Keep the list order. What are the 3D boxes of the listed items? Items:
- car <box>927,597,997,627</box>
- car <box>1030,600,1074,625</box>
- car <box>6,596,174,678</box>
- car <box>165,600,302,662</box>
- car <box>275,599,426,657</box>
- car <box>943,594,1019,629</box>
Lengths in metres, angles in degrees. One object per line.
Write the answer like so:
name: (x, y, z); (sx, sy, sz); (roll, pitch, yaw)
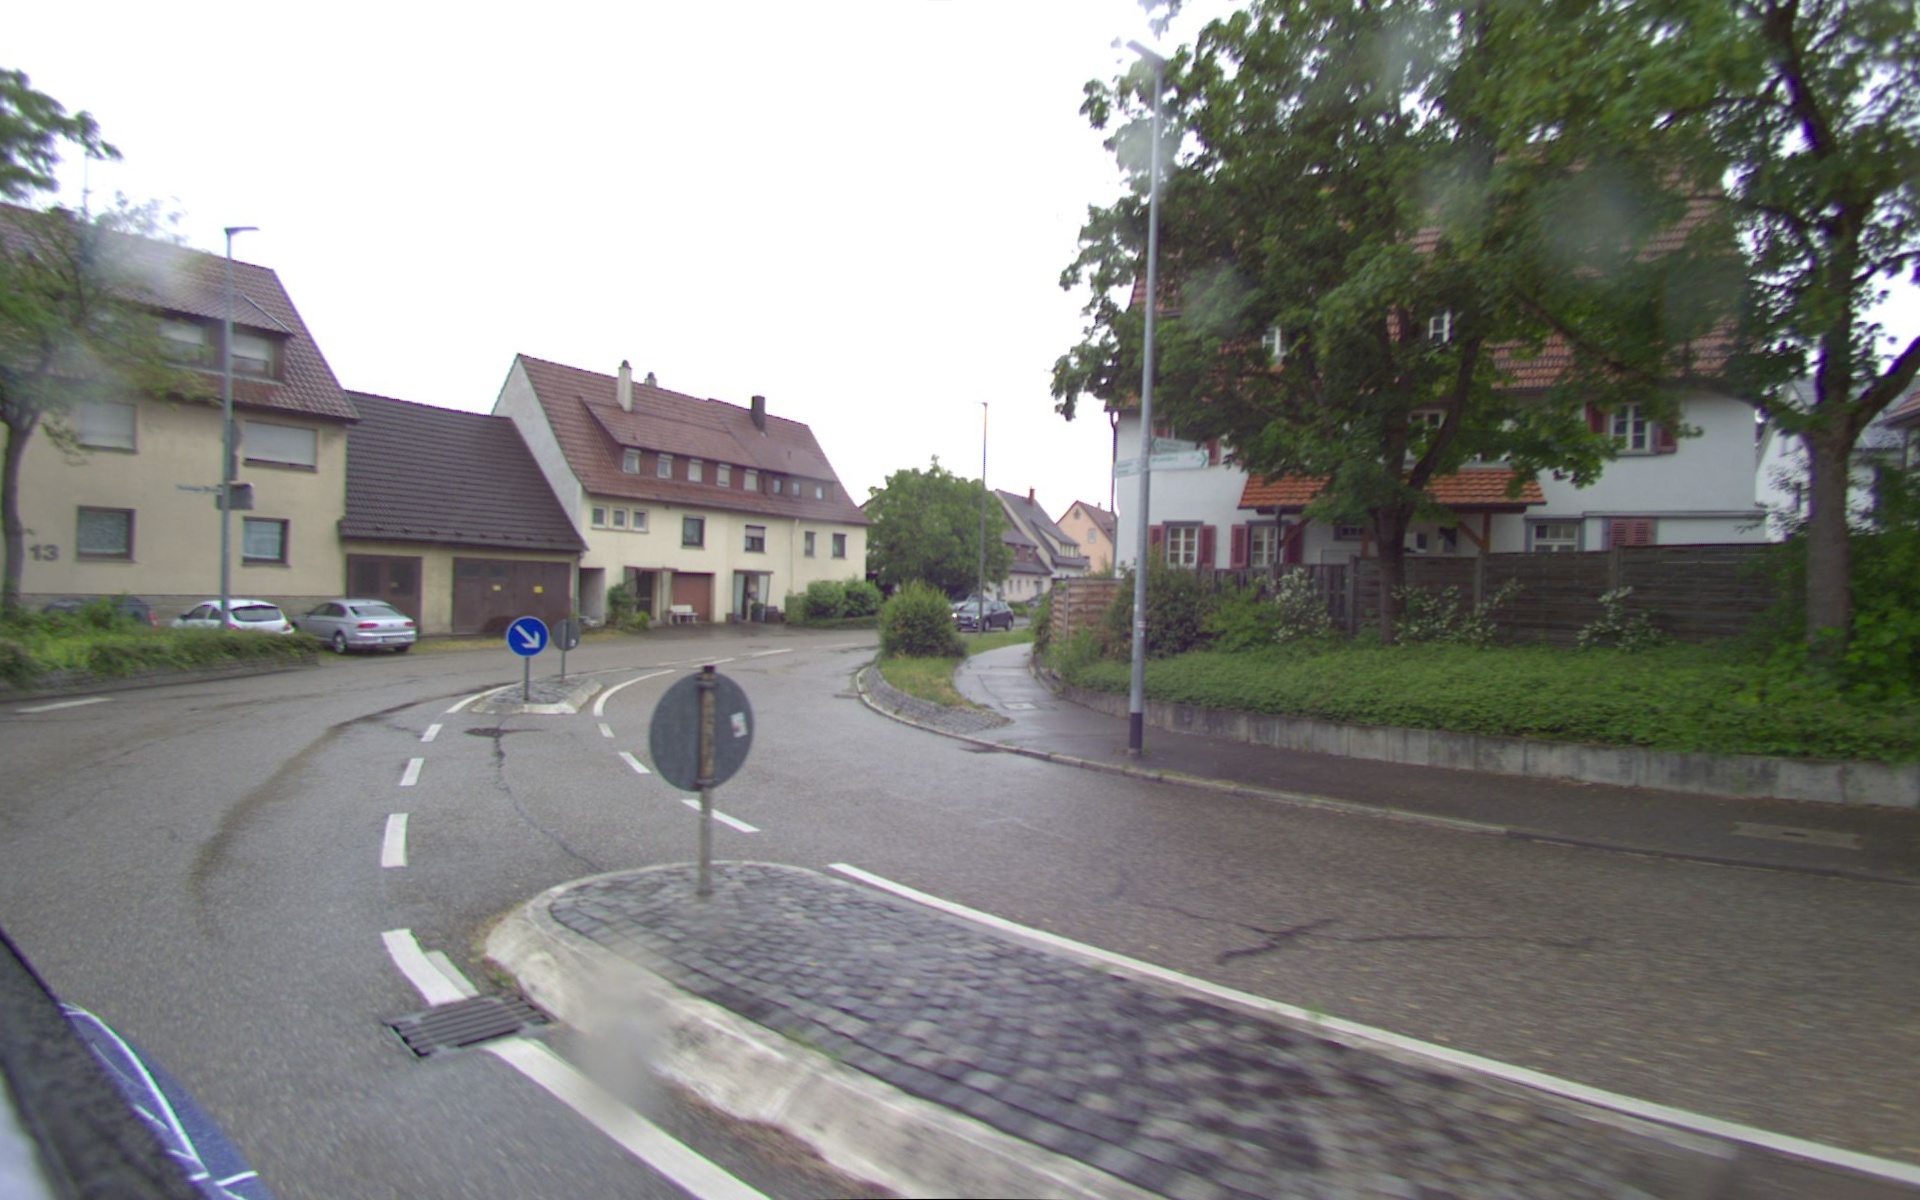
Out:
car: (0.162, 0.718, 61.083); (1.912, 1.724, 4.420); (1, 1, 39)
car: (6.647, 0.872, 72.650); (1.987, 1.666, 4.038); (1, 0, 23)
car: (-20.783, 0.819, 24.171); (3.981, 1.594, 1.732); (3, 3, 28)
car: (-19.172, 0.770, 26.691); (3.418, 1.541, 1.701); (0, 0, 30)
car: (-17.425, 0.746, 28.880); (4.613, 1.425, 1.801); (2, 1, 32)
car: (1.055, 0.554, 49.494); (1.993, 1.541, 3.959); (3, 1, 30)
